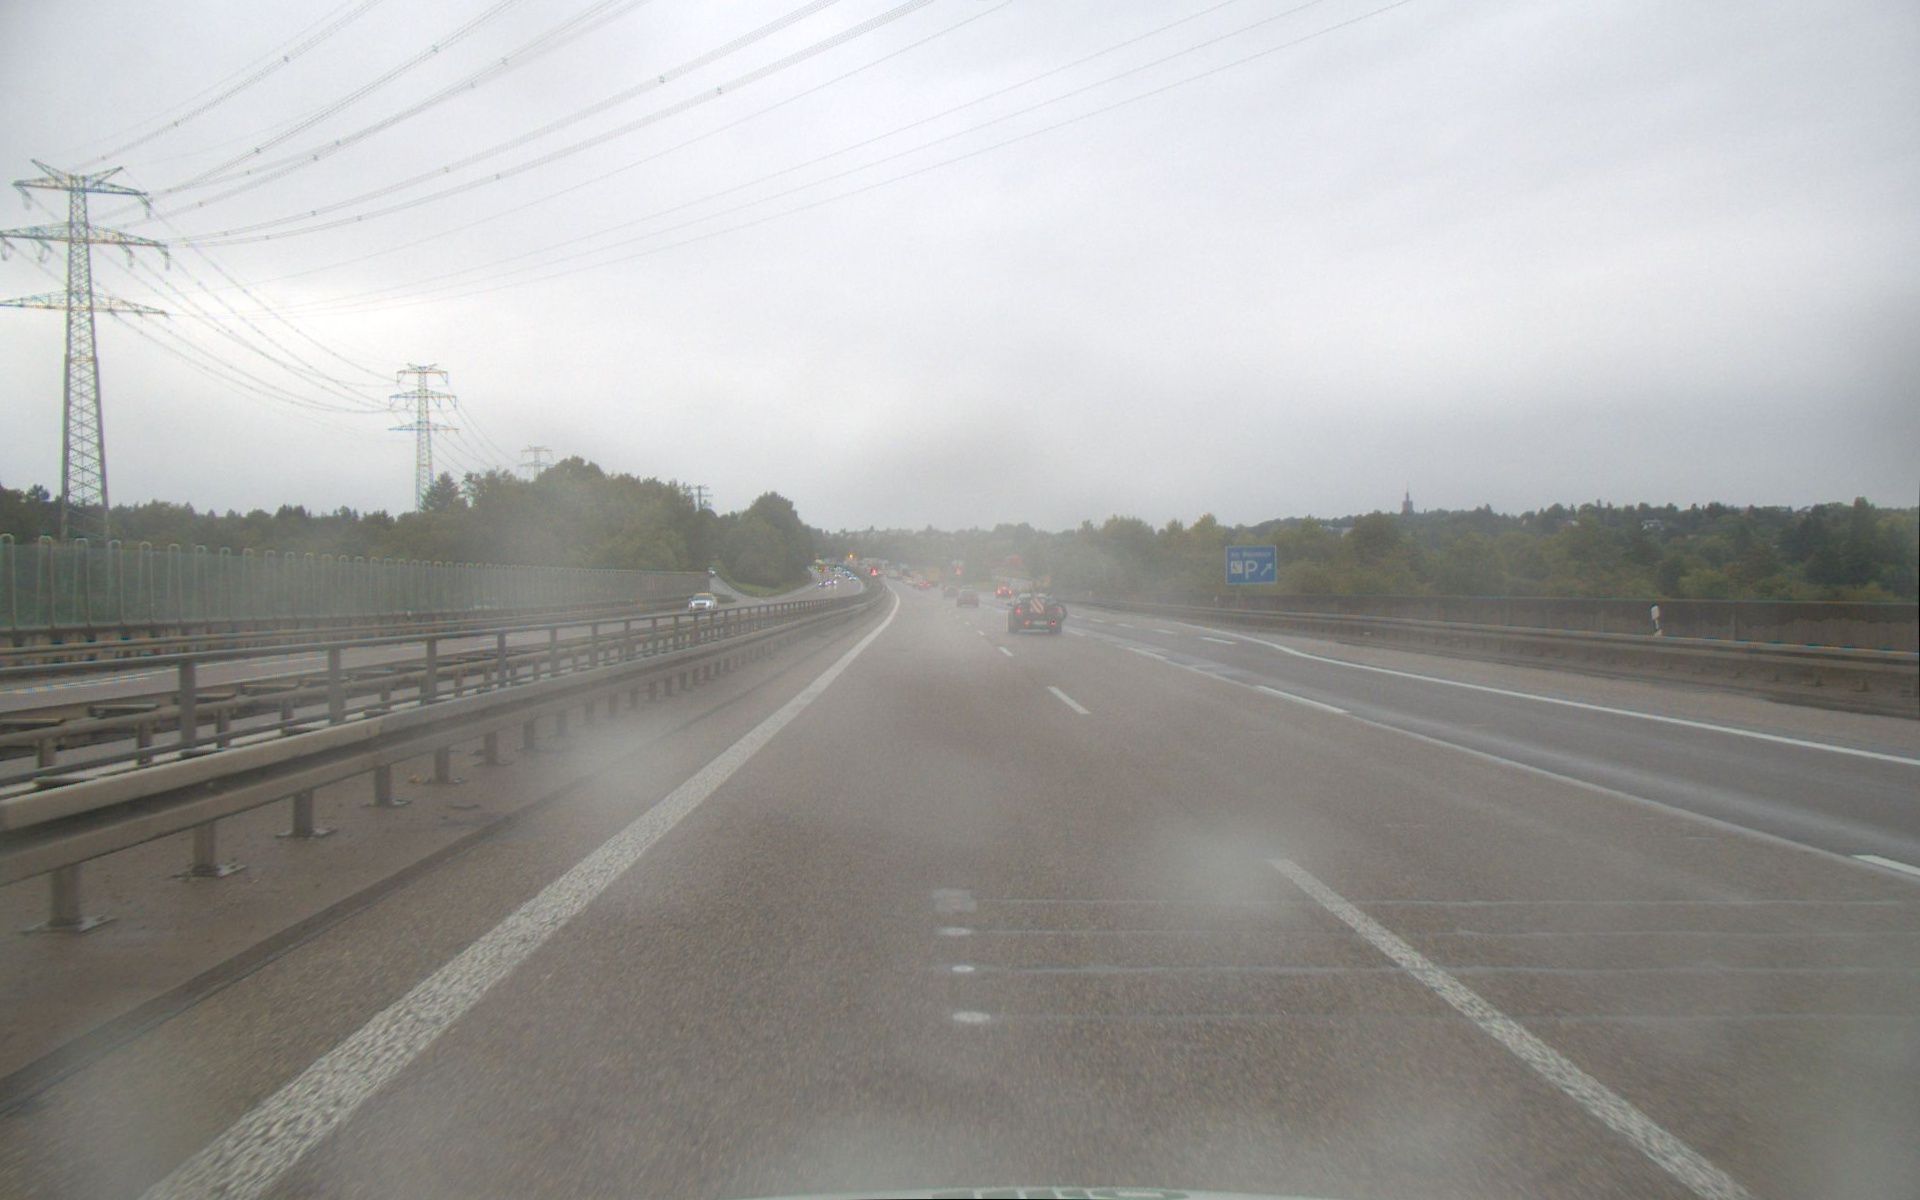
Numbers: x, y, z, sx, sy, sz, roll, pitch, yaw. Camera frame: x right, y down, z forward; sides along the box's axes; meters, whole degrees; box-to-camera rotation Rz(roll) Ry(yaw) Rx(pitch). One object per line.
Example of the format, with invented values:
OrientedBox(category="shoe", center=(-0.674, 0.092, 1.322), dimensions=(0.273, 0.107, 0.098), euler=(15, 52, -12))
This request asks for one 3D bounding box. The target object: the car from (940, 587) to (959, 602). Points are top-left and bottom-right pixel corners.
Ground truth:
OrientedBox(category="car", center=(-1.205, -0.642, 195.007), dimensions=(1.954, 1.657, 3.997), euler=(-1, 1, -4))

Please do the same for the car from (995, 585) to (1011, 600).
OrientedBox(category="car", center=(5.302, -0.908, 203.500), dimensions=(1.882, 1.739, 4.002), euler=(-1, 1, 3))

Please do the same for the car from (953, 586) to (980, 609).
OrientedBox(category="car", center=(0.526, -0.232, 137.151), dimensions=(1.954, 1.791, 3.997), euler=(-1, 1, -4))

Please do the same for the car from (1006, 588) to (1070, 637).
OrientedBox(category="car", center=(2.815, 0.440, 60.783), dimensions=(2.016, 1.700, 5.521), euler=(0, 0, -1))

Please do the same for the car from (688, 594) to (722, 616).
OrientedBox(category="car", center=(-19.408, 0.362, 125.876), dimensions=(1.953, 1.658, 4.712), euler=(-1, 0, -2))
